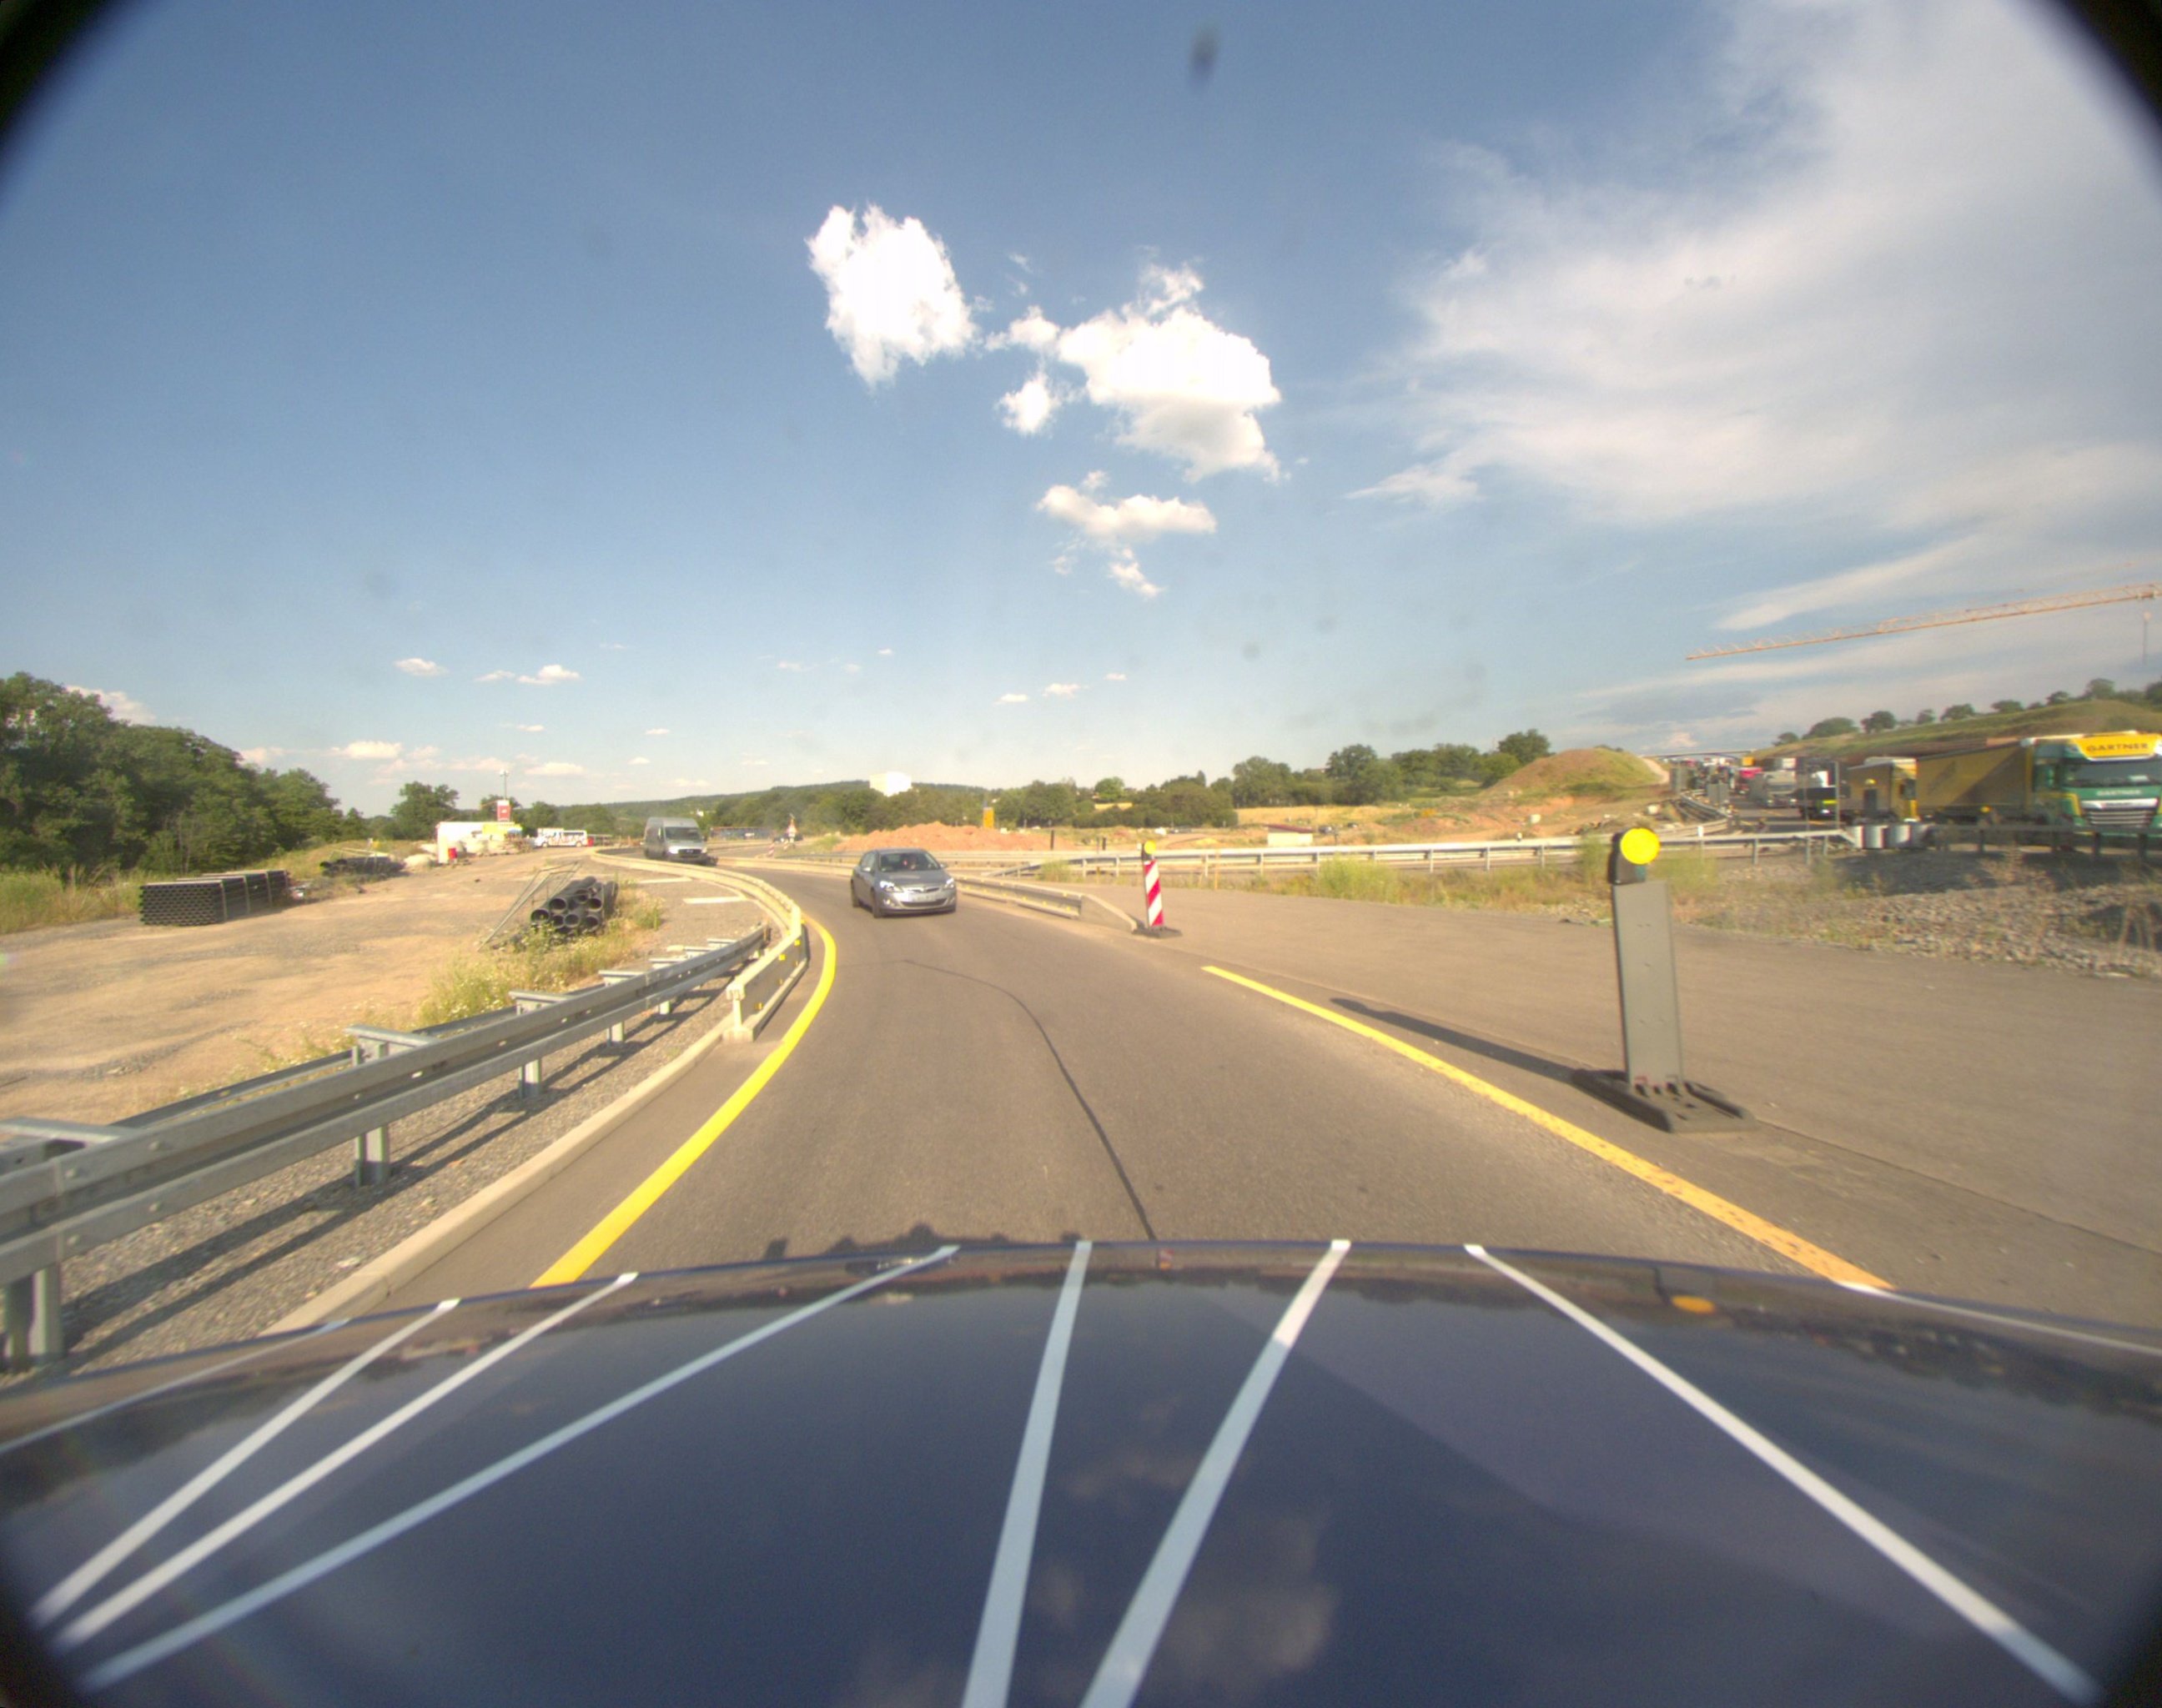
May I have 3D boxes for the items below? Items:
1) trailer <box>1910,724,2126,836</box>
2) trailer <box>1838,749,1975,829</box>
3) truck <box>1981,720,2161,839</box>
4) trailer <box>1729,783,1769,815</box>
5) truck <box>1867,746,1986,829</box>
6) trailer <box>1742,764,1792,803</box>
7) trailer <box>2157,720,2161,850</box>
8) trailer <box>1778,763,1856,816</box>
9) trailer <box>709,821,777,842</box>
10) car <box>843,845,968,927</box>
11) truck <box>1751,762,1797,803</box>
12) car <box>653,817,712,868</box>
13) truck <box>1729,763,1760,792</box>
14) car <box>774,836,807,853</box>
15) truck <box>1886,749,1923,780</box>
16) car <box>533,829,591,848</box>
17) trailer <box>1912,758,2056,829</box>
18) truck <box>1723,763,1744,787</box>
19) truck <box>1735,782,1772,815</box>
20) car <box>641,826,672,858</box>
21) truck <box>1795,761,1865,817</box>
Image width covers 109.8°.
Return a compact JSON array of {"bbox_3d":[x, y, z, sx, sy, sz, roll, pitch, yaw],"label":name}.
[{"bbox_3d":[40.062,-2.969,33.232,2.481,3.937,14.000,0,3,37],"label":"trailer"},{"bbox_3d":[50.869,-3.852,47.400,3.104,4.291,14.277,2,4,37],"label":"trailer"},{"bbox_3d":[36.174,-2.592,27.999,2.481,3.880,6.022,0,3,37],"label":"truck"},{"bbox_3d":[95.272,-7.761,108.587,3.104,4.291,14.277,2,4,37],"label":"trailer"},{"bbox_3d":[47.693,-3.624,43.122,3.104,4.291,6.908,2,4,37],"label":"truck"},{"bbox_3d":[83.457,-8.446,92.701,3.104,4.291,14.277,2,4,37],"label":"trailer"},{"bbox_3d":[25.709,-1.798,13.880,2.481,4.039,13.654,0,3,35],"label":"trailer"},{"bbox_3d":[65.713,-5.584,68.206,3.104,4.291,14.277,2,4,37],"label":"trailer"},{"bbox_3d":[-41.563,-2.844,93.655,3.005,2.401,7.239,0,3,28],"label":"trailer"},{"bbox_3d":[-4.175,0.612,17.588,1.751,1.476,4.241,-4,4,-27],"label":"car"},{"bbox_3d":[78.884,-8.067,86.560,3.104,4.291,6.908,2,4,37],"label":"truck"},{"bbox_3d":[-21.432,-0.703,40.727,1.921,2.487,5.780,-3,4,-35],"label":"car"},{"bbox_3d":[103.491,-11.879,118.630,3.104,4.291,6.908,2,4,37],"label":"truck"},{"bbox_3d":[-34.549,-1.136,90.439,1.634,1.777,4.129,0,3,13],"label":"car"},{"bbox_3d":[133.607,-14.397,123.464,13.198,4.388,3.562,-3,4,-44],"label":"truck"},{"bbox_3d":[-61.250,-1.875,89.761,5.329,2.068,2.479,-3,4,-42],"label":"car"},{"bbox_3d":[58.472,-3.809,49.729,2.858,3.975,13.499,0,3,36],"label":"trailer"},{"bbox_3d":[119.327,-14.303,139.042,2.515,3.980,8.568,2,4,38],"label":"truck"},{"bbox_3d":[91.138,-7.431,103.073,3.104,4.291,6.908,2,4,37],"label":"truck"},{"bbox_3d":[-34.131,-1.020,61.022,1.880,2.390,3.988,-3,4,-32],"label":"car"},{"bbox_3d":[61.763,-5.268,62.851,3.104,4.291,6.908,2,4,37],"label":"truck"}]
